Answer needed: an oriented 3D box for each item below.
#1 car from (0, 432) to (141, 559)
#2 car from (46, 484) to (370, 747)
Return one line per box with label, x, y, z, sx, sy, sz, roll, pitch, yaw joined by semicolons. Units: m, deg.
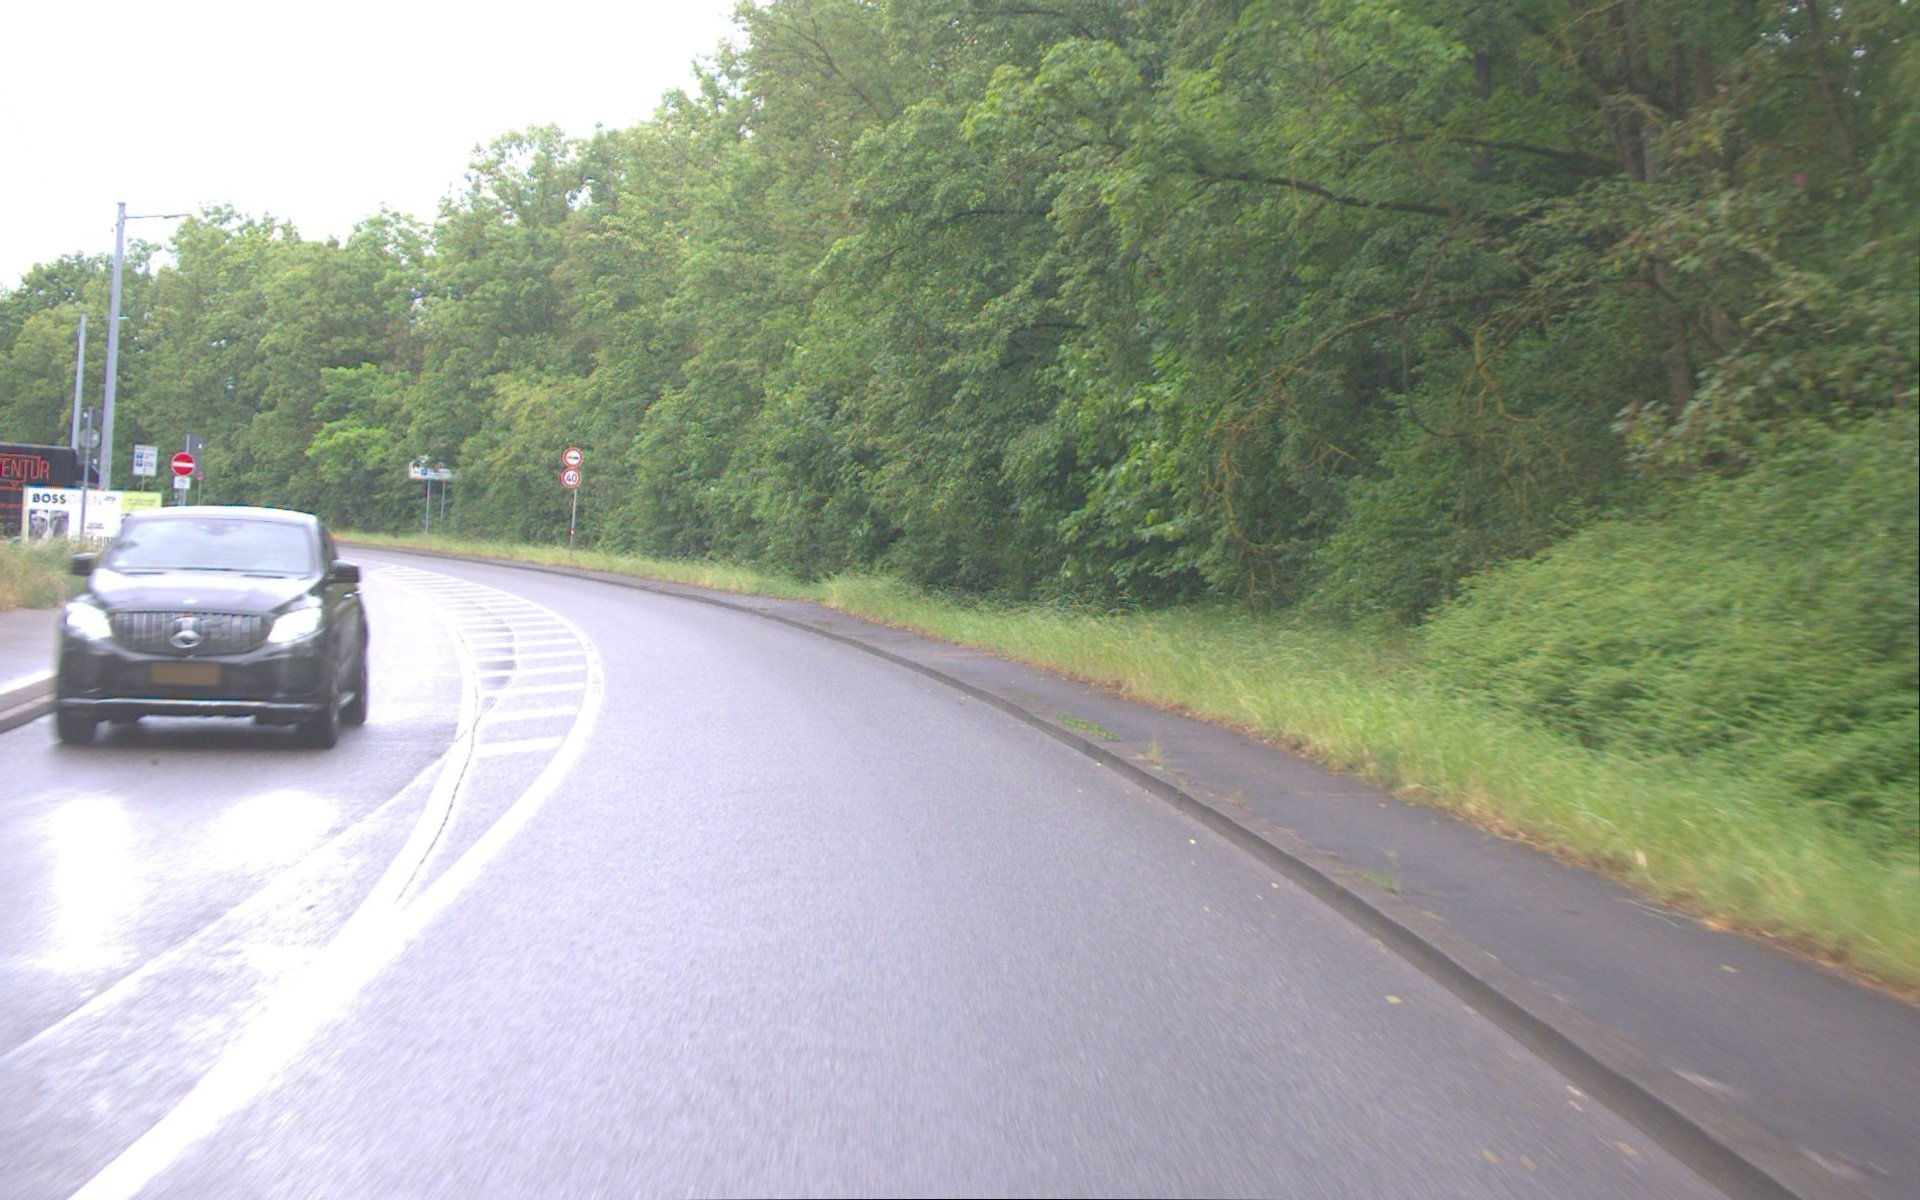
car;-26.403;-2.980;97.517;5.945;3.490;2.001;1;1;-20
car;-5.592;0.059;26.081;1.993;1.781;4.709;1;1;-8
